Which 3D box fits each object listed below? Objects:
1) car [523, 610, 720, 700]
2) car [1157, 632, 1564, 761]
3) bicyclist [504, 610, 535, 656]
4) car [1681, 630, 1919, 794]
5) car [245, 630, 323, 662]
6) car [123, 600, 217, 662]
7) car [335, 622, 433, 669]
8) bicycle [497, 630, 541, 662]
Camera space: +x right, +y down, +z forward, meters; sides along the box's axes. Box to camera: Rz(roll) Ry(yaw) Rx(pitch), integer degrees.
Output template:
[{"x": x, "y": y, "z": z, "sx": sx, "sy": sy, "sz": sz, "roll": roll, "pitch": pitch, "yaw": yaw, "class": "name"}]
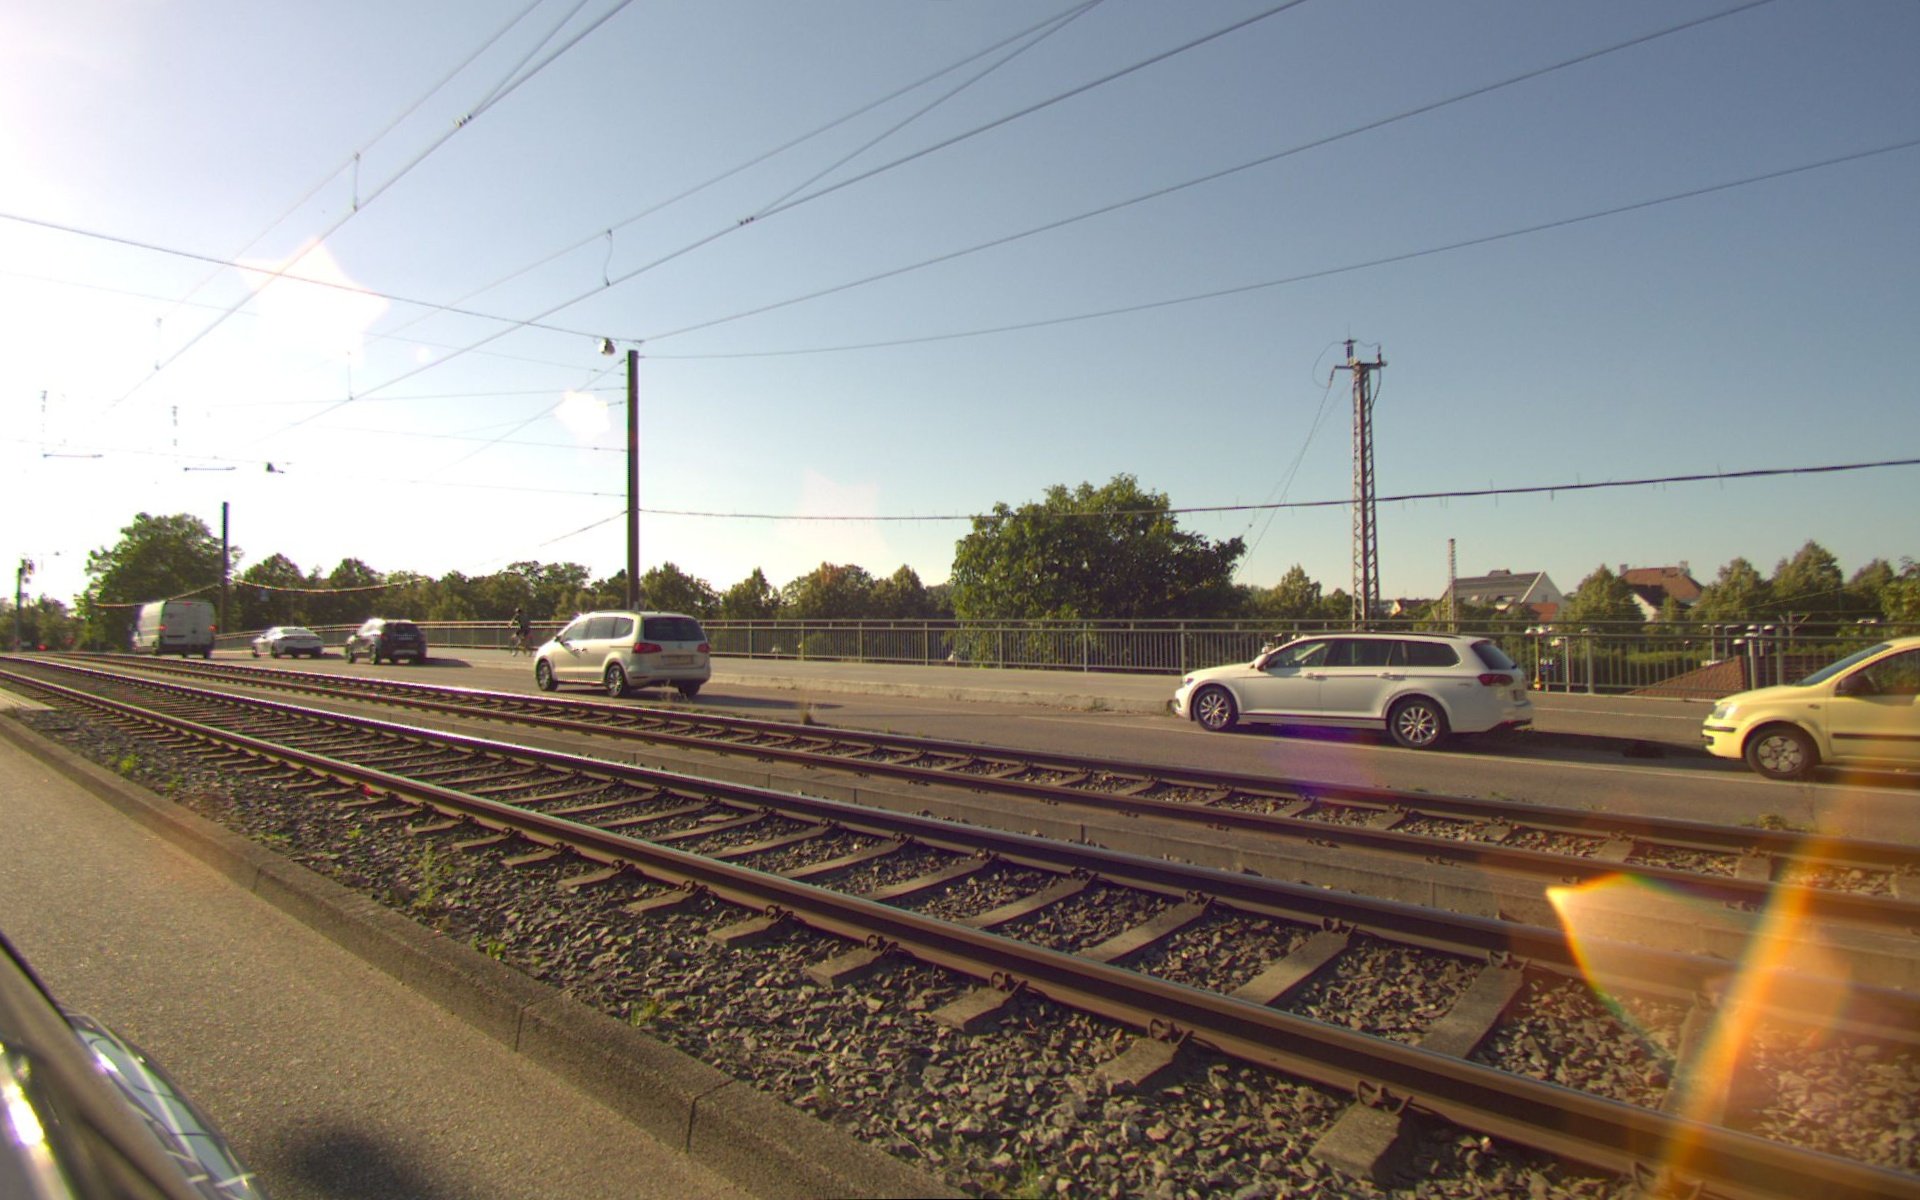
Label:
[{"x": -7.143, "y": 1.145, "z": 21.130, "sx": 4.595, "sy": 1.678, "sz": 1.853, "roll": -2, "pitch": -4, "yaw": 42, "class": "car"}, {"x": 5.370, "y": 1.220, "z": 14.043, "sx": 4.952, "sy": 1.475, "sz": 1.724, "roll": -2, "pitch": -2, "yaw": 40, "class": "car"}, {"x": -16.201, "y": 1.212, "z": 37.222, "sx": 0.889, "sy": 1.639, "sz": 0.672, "roll": -2, "pitch": 0, "yaw": 42, "class": "bicyclist"}, {"x": 9.687, "y": 1.084, "z": 10.190, "sx": 3.788, "sy": 1.543, "sz": 1.616, "roll": -2, "pitch": -2, "yaw": 41, "class": "car"}, {"x": -30.552, "y": 2.060, "z": 45.696, "sx": 4.917, "sy": 1.367, "sz": 1.666, "roll": -2, "pitch": -4, "yaw": 41, "class": "car"}, {"x": -35.590, "y": 1.428, "z": 45.543, "sx": 6.035, "sy": 2.613, "sz": 2.066, "roll": -2, "pitch": -3, "yaw": 40, "class": "car"}, {"x": -21.686, "y": 1.739, "z": 38.034, "sx": 4.444, "sy": 1.663, "sz": 1.761, "roll": -3, "pitch": -5, "yaw": 41, "class": "car"}, {"x": -16.251, "y": 1.694, "z": 37.264, "sx": 2.099, "sy": 1.106, "sz": 0.672, "roll": -2, "pitch": 0, "yaw": 42, "class": "bicycle"}]
